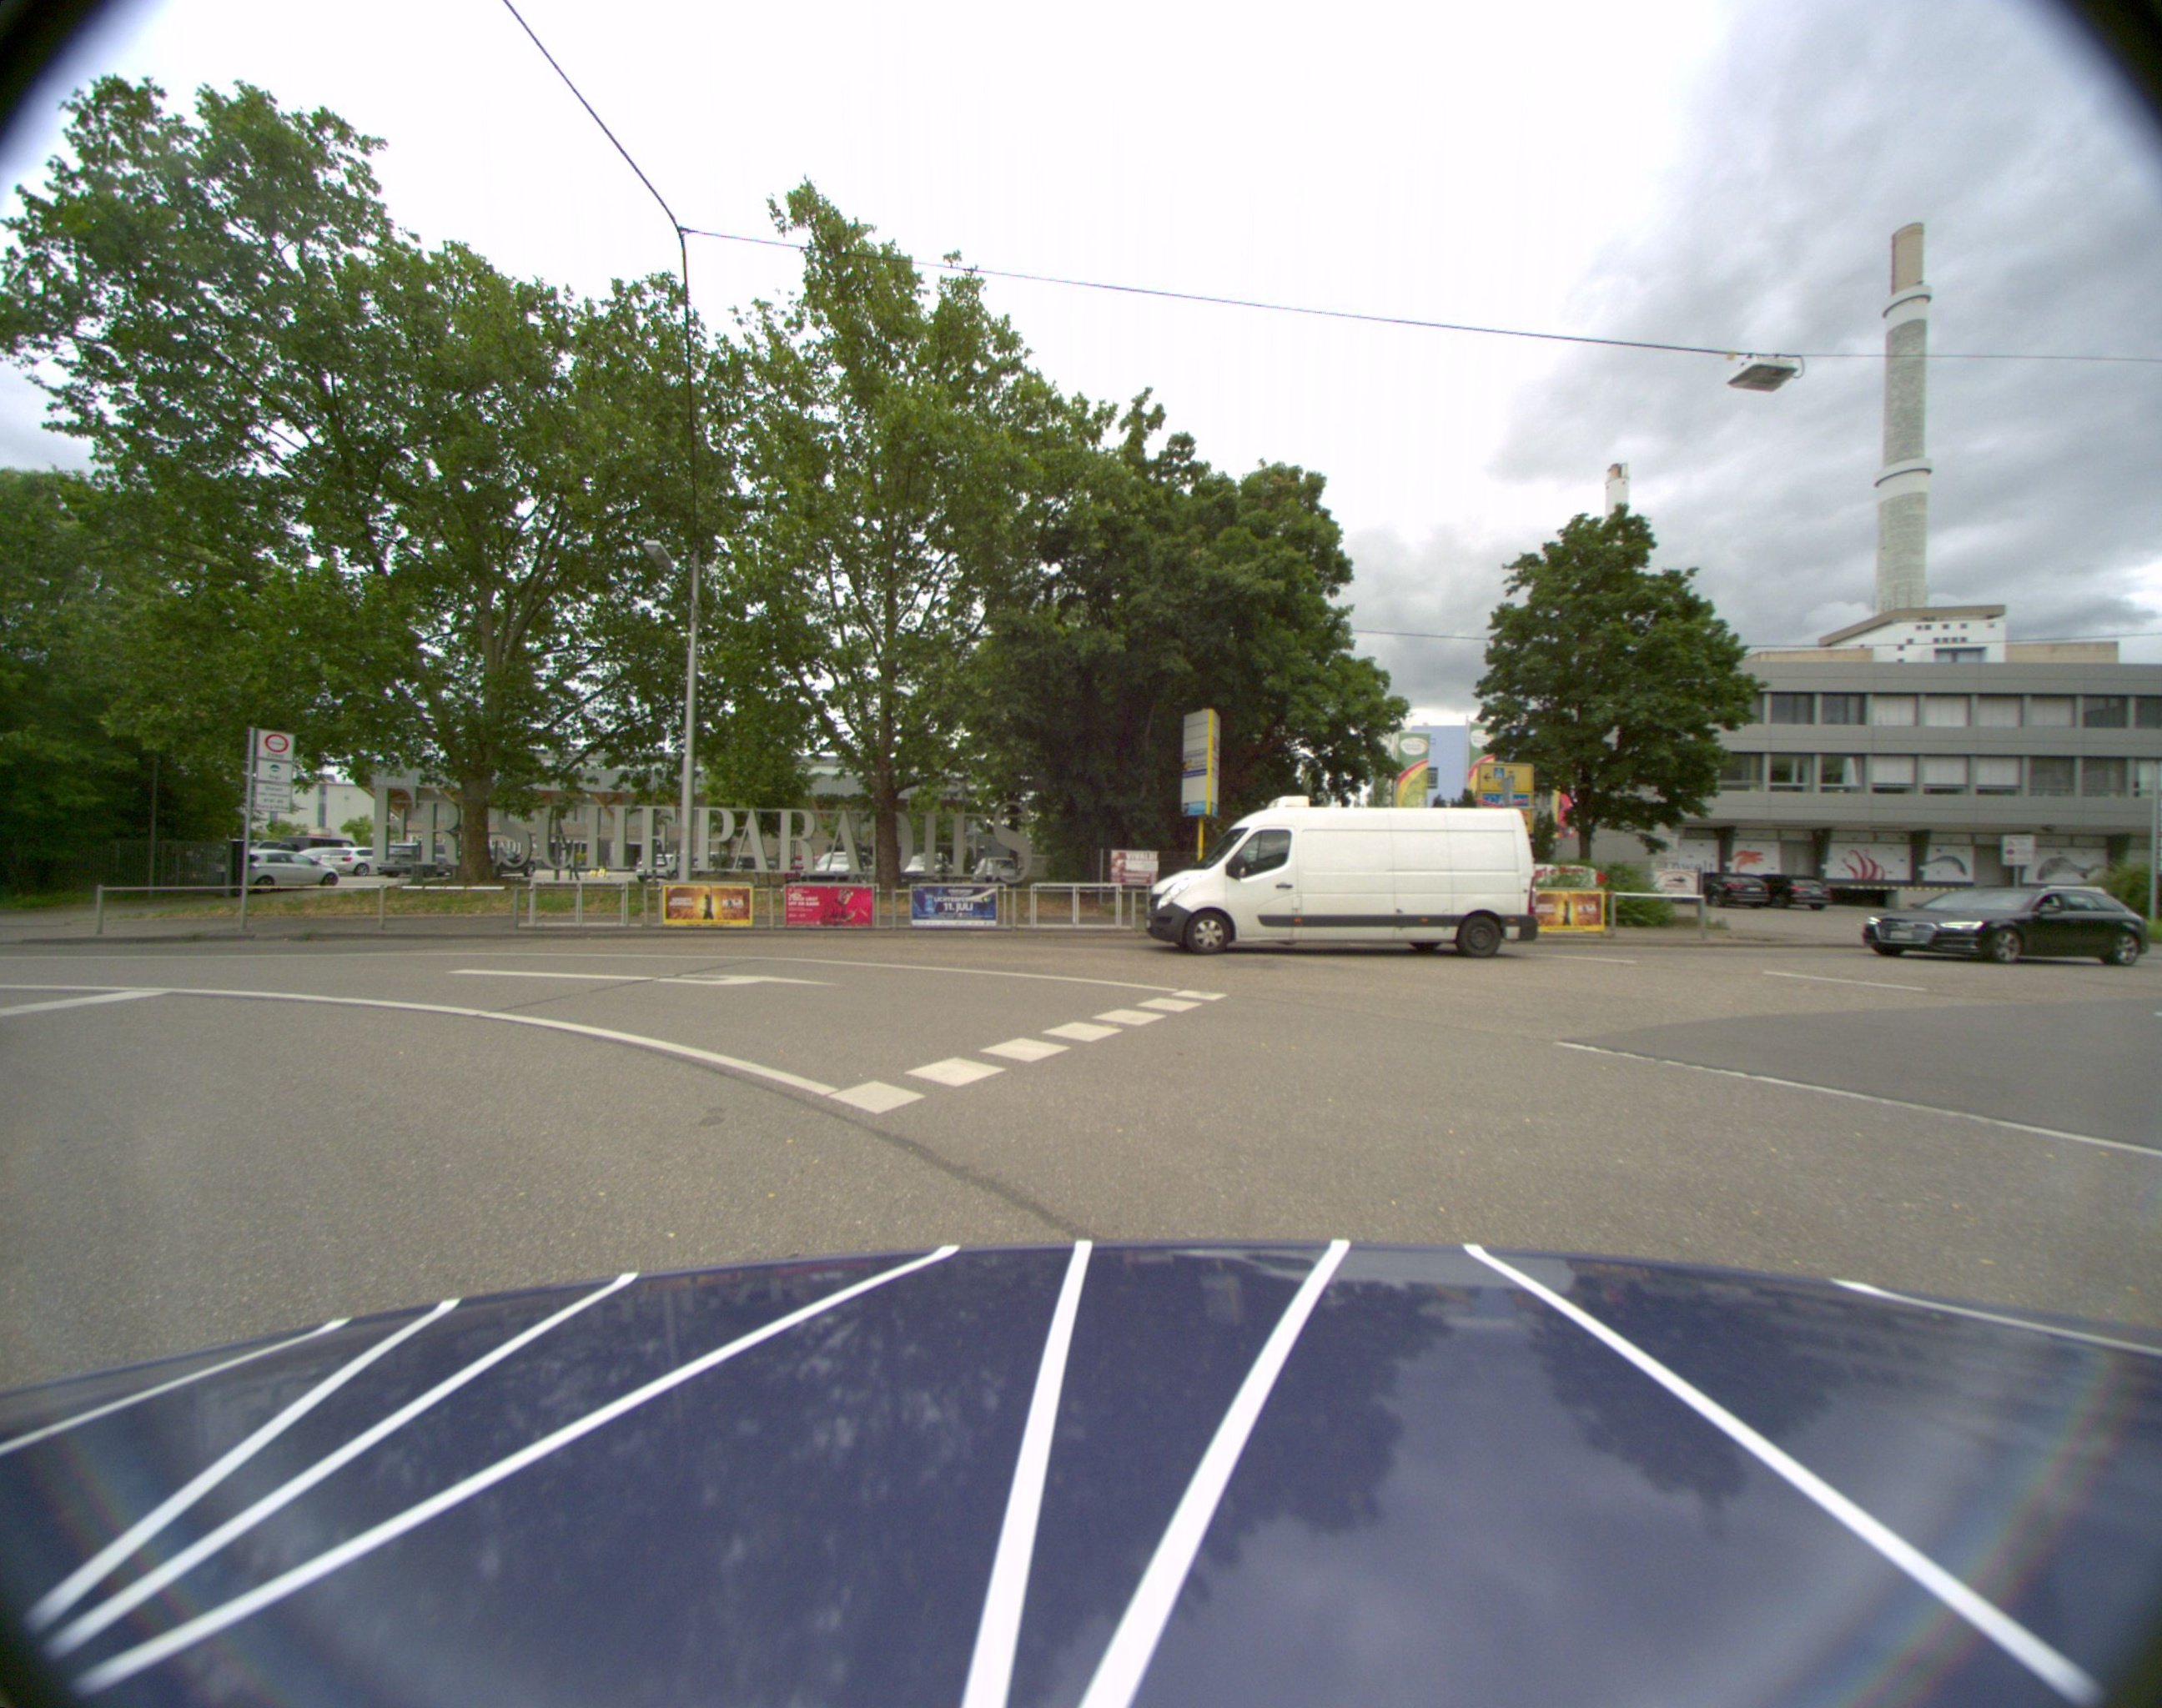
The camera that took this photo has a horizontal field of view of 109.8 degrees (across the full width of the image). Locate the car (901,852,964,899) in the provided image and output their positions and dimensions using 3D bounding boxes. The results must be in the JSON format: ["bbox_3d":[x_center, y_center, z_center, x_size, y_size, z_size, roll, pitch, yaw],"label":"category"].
[{"bbox_3d":[-5.526,0.806,28.706,1.591,1.603,4.318,1,-2,-1],"label":"car"}]

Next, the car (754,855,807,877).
[{"bbox_3d":[-21.847,0.877,55.452,1.999,1.552,4.641,1,-1,-1],"label":"car"}]

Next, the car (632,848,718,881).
[{"bbox_3d":[-21.108,0.562,39.727,1.999,1.552,4.641,1,-1,-1],"label":"car"}]

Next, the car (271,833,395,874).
[{"bbox_3d":[-39.684,0.015,40.485,1.999,2.001,4.641,1,-1,-1],"label":"car"}]

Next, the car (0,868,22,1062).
[{"bbox_3d":[-10.190,0.822,5.380,3.828,1.457,1.735,1,1,12],"label":"car"}]

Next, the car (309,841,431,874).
[{"bbox_3d":[-36.911,0.216,39.668,1.999,1.549,4.641,1,-1,-1],"label":"car"}]

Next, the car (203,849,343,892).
[{"bbox_3d":[-30.558,0.607,28.914,1.481,1.495,3.729,1,-1,-4],"label":"car"}]

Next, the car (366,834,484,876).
[{"bbox_3d":[-33.631,0.105,39.167,1.999,2.001,4.641,1,-1,-1],"label":"car"}]

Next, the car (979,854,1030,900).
[{"bbox_3d":[-2.821,0.864,28.761,1.591,1.603,4.001,1,-2,-1],"label":"car"}]

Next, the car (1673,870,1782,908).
[{"bbox_3d":[31.670,1.672,37.435,1.836,1.608,4.467,2,0,6],"label":"car"}]

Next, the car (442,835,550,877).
[{"bbox_3d":[-30.235,0.140,39.465,1.999,2.001,4.641,1,-1,-1],"label":"car"}]

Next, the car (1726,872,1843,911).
[{"bbox_3d":[34.440,1.795,37.377,1.837,1.608,4.425,2,0,5],"label":"car"}]

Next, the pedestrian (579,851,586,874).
[{"bbox_3d":[-37.853,0.673,57.676,0.342,1.754,0.437,2,-2,-23],"label":"pedestrian"}]

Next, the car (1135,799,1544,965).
[{"bbox_3d":[4.112,0.476,12.882,6.097,2.444,2.390,1,-1,-3],"label":"car"}]

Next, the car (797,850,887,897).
[{"bbox_3d":[-8.980,0.742,28.951,1.883,1.603,4.527,1,-2,1],"label":"car"}]

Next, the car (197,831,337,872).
[{"bbox_3d":[-43.490,-0.085,40.802,1.999,1.986,5.103,1,-1,-1],"label":"car"}]

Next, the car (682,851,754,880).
[{"bbox_3d":[-21.208,0.692,44.616,1.999,1.552,4.641,1,-1,-1],"label":"car"}]

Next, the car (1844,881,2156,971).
[{"bbox_3d":[17.320,1.322,14.406,4.442,1.503,1.864,1,-1,-11],"label":"car"}]
